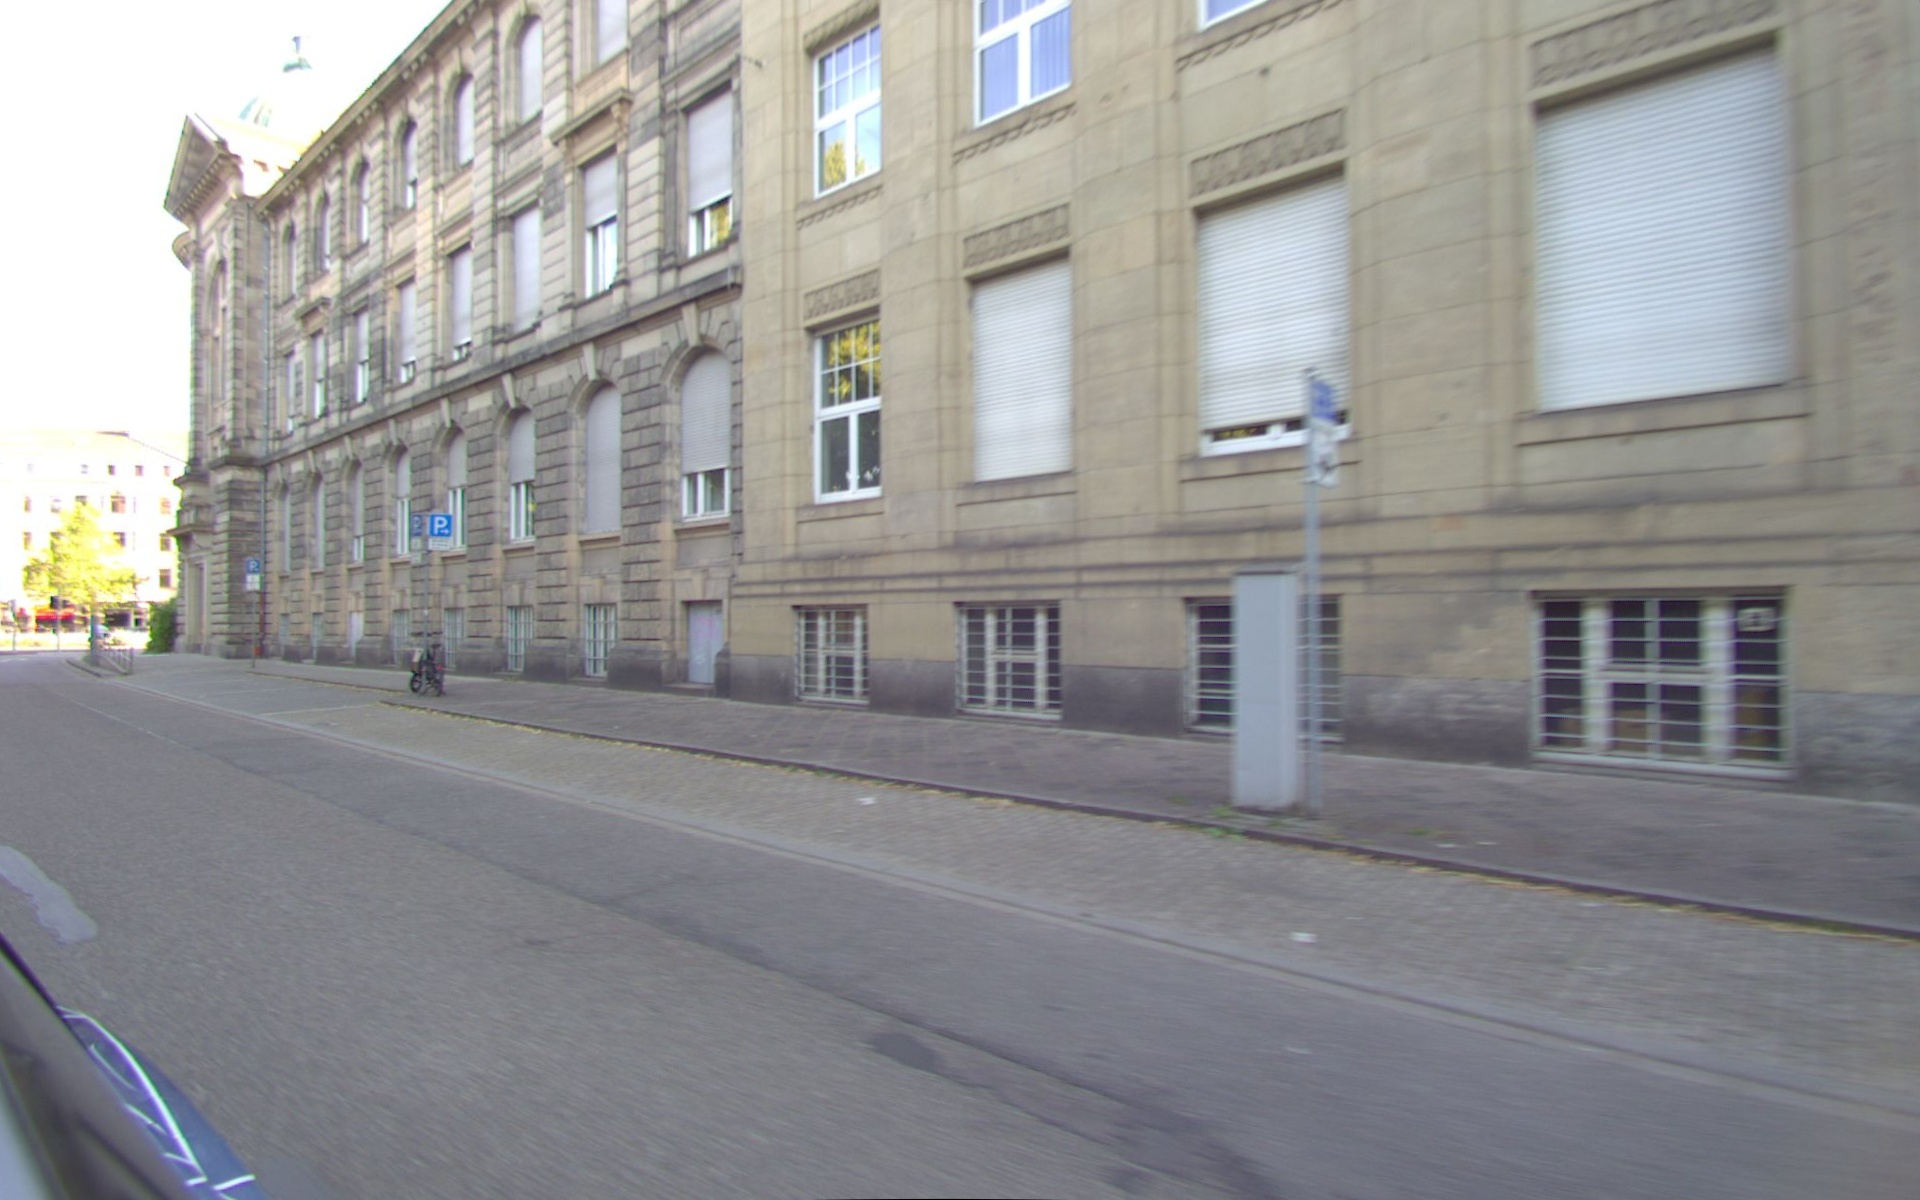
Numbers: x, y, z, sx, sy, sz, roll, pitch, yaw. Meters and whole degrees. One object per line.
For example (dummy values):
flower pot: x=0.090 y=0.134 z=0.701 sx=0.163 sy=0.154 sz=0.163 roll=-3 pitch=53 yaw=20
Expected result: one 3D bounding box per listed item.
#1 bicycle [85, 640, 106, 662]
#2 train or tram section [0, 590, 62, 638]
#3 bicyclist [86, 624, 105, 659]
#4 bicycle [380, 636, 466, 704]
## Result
bicycle: x=-44.437 y=2.612 z=52.012 sx=0.654 sy=1.078 sz=2.158 roll=1 pitch=-2 yaw=-37
train or tram section: x=-79.967 y=1.122 z=76.126 sx=19.604 sy=3.586 sz=3.129 roll=0 pitch=-2 yaw=-11
bicyclist: x=-44.480 y=2.127 z=52.081 sx=0.636 sy=1.821 sz=0.782 roll=1 pitch=-2 yaw=-37
bicycle: x=-9.786 y=1.236 z=18.400 sx=0.842 sy=1.110 sz=1.983 roll=-1 pitch=0 yaw=-44
